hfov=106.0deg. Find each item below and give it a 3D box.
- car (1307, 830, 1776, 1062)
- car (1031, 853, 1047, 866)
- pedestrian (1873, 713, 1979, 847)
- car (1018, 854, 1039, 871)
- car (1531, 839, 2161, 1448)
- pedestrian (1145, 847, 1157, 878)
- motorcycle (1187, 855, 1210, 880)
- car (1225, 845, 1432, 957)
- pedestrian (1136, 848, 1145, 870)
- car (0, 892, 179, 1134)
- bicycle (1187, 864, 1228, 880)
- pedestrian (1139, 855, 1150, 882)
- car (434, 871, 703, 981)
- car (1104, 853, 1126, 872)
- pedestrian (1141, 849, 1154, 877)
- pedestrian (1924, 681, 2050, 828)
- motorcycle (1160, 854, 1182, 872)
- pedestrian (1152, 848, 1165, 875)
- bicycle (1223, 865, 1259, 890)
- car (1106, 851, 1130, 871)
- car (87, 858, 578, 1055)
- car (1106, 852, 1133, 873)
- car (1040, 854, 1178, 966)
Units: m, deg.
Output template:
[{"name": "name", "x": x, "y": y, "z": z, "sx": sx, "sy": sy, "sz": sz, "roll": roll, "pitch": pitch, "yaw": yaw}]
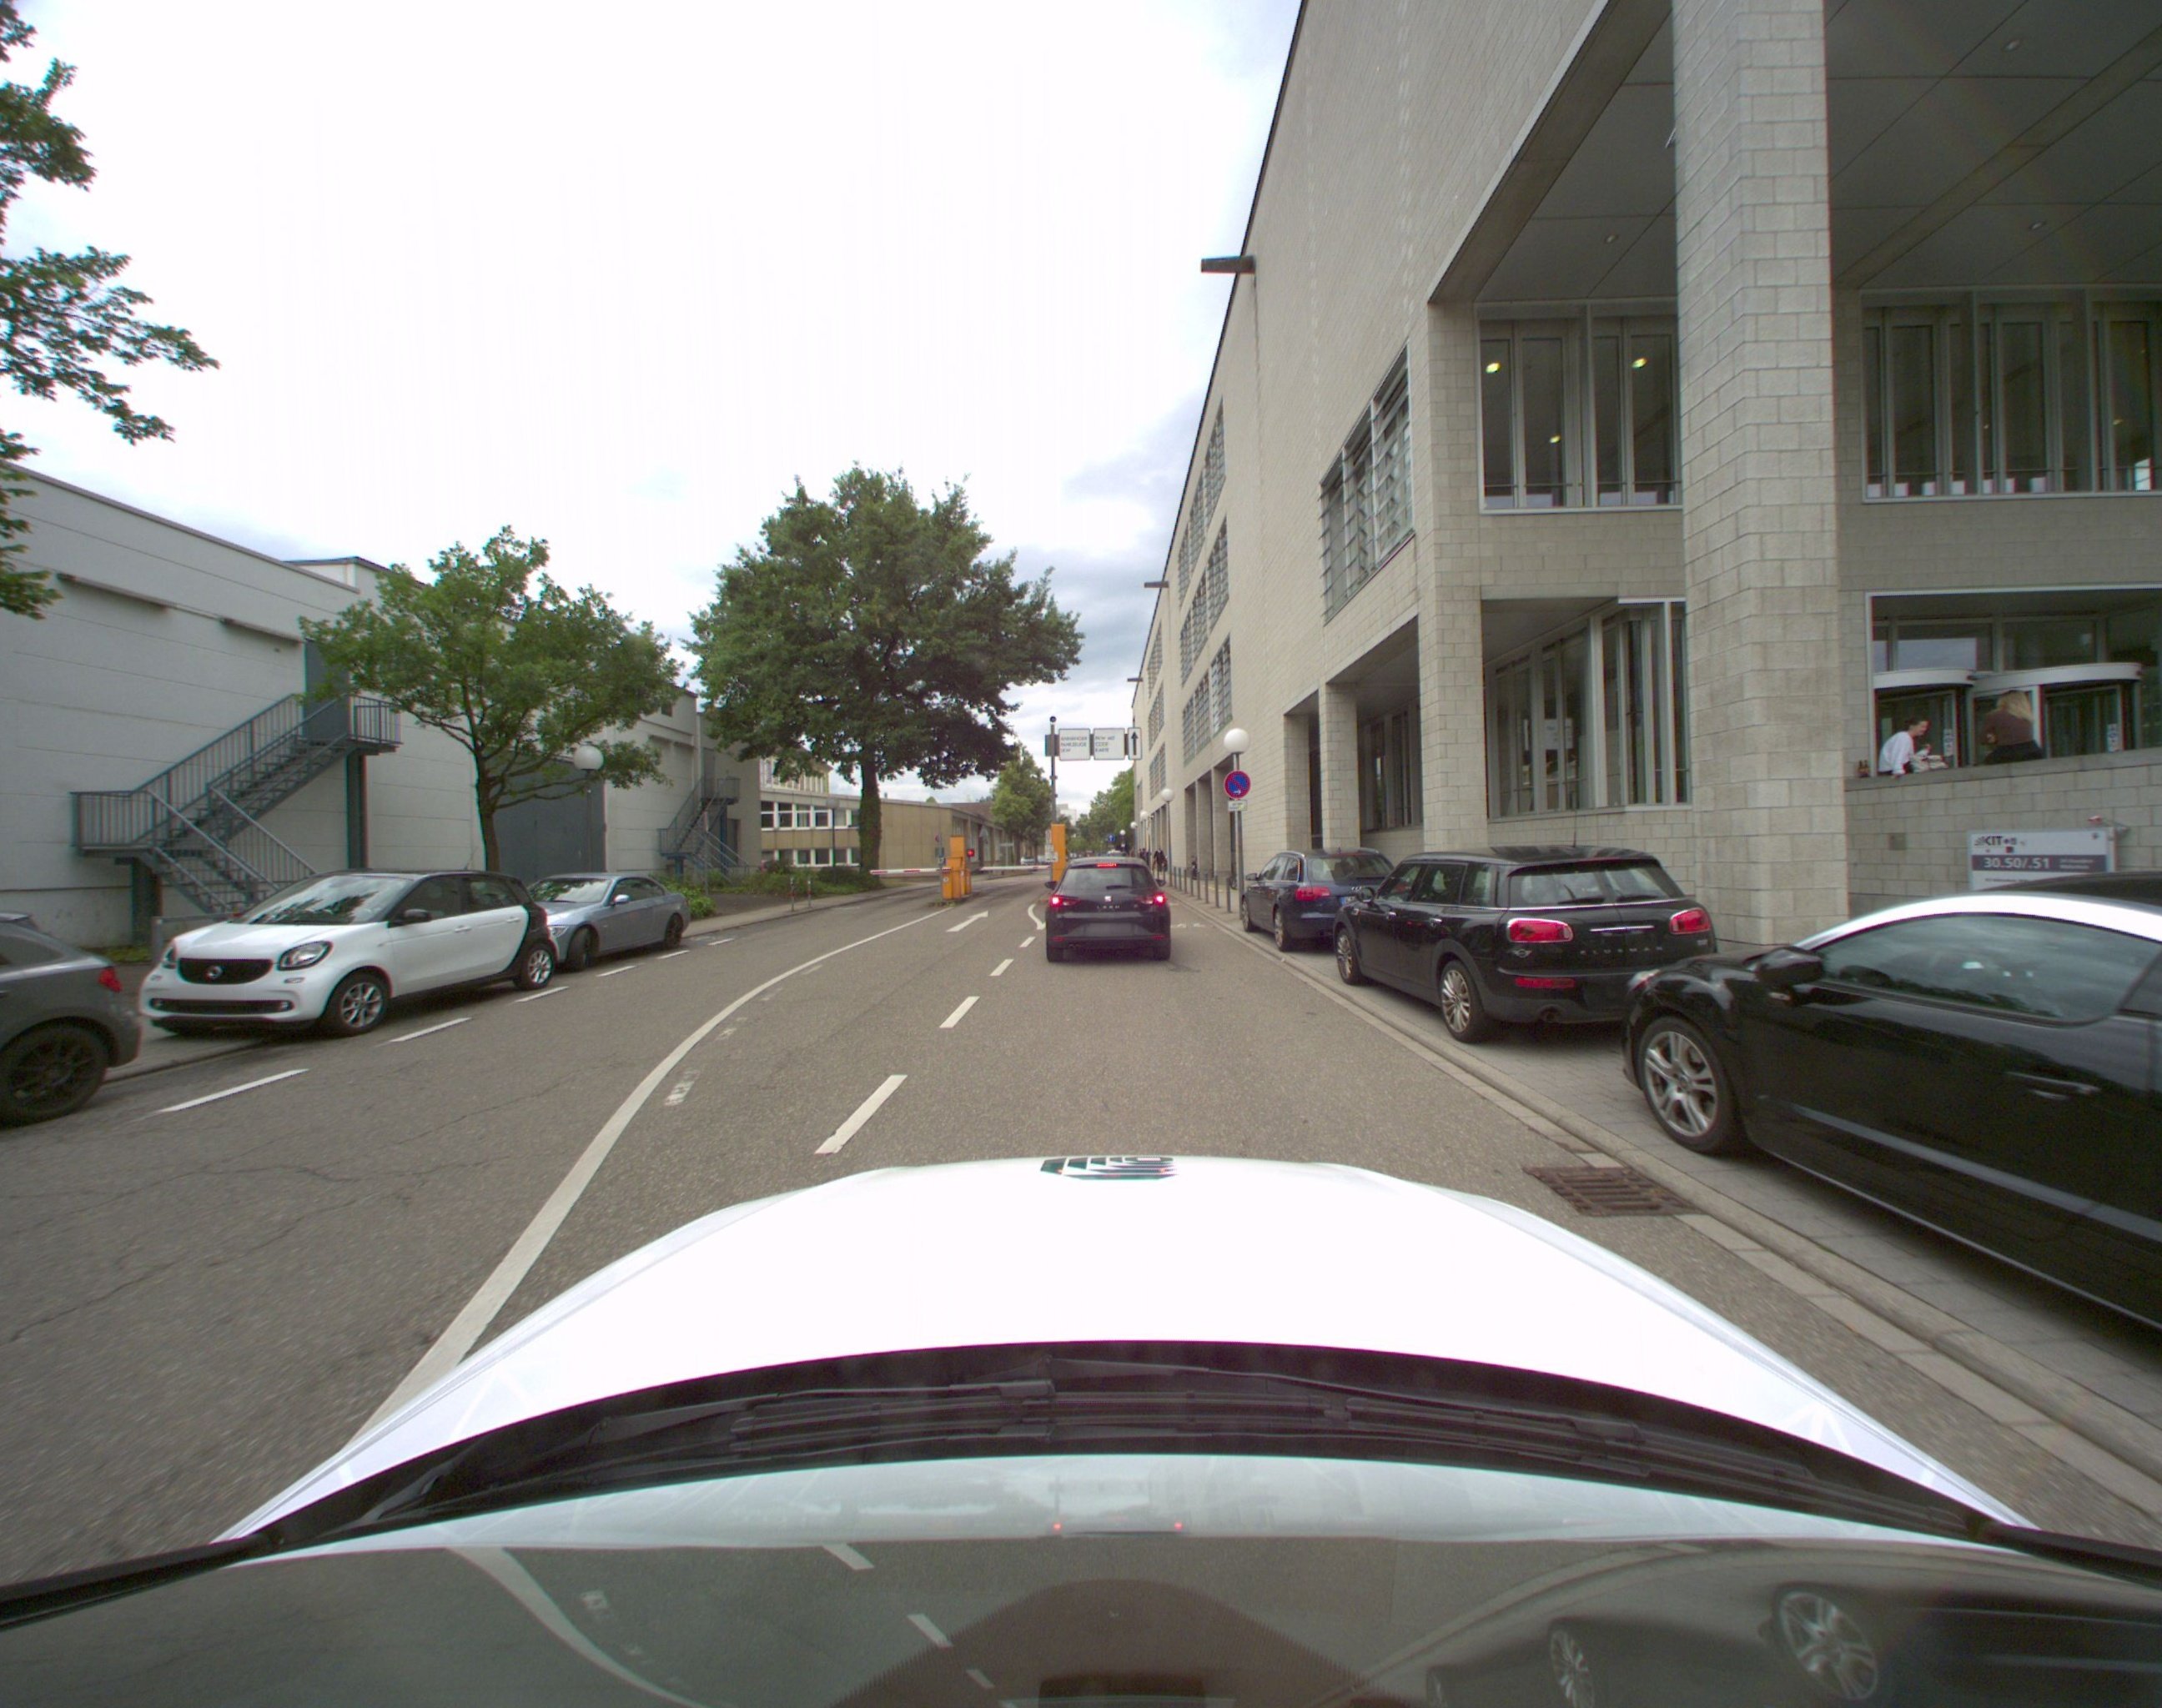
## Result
[{"name": "car", "x": 3.693, "y": 0.607, "z": 7.675, "sx": 1.812, "sy": 1.443, "sz": 4.520, "roll": -3, "pitch": 0, "yaw": 0}, {"name": "car", "x": -5.292, "y": 0.672, "z": 102.950, "sx": 1.764, "sy": 1.601, "sz": 4.000, "roll": -1, "pitch": 0, "yaw": 1}, {"name": "pedestrian", "x": 10.968, "y": -0.939, "z": 10.605, "sx": 0.624, "sy": 1.658, "sz": 0.811, "roll": 0, "pitch": 2, "yaw": 17}, {"name": "car", "x": -5.164, "y": 0.788, "z": 80.154, "sx": 1.764, "sy": 1.601, "sz": 3.999, "roll": -1, "pitch": 0, "yaw": 0}, {"name": "car", "x": 3.617, "y": 0.712, "z": 2.784, "sx": 1.841, "sy": 1.442, "sz": 4.422, "roll": -1, "pitch": 1, "yaw": 2}, {"name": "pedestrian", "x": 3.962, "y": 0.487, "z": 45.975, "sx": 0.608, "sy": 1.714, "sz": 0.575, "roll": -2, "pitch": 0, "yaw": 4}, {"name": "motorcycle", "x": 6.173, "y": 0.681, "z": 42.601, "sx": 0.560, "sy": 1.148, "sz": 2.230, "roll": 0, "pitch": 2, "yaw": 25}, {"name": "car", "x": 3.793, "y": 0.653, "z": 13.512, "sx": 1.986, "sy": 1.452, "sz": 4.923, "roll": -2, "pitch": 0, "yaw": 1}, {"name": "pedestrian", "x": 4.617, "y": 0.408, "z": 63.013, "sx": 0.693, "sy": 1.714, "sz": 0.490, "roll": -1, "pitch": 0, "yaw": 5}, {"name": "car", "x": -7.437, "y": 1.018, "z": 3.887, "sx": 1.758, "sy": 1.411, "sz": 4.007, "roll": -1, "pitch": 0, "yaw": 0}, {"name": "bicycle", "x": 6.129, "y": 0.866, "z": 39.423, "sx": 1.892, "sy": 0.698, "sz": 0.492, "roll": -1, "pitch": 2, "yaw": -3}, {"name": "pedestrian", "x": 4.037, "y": 0.913, "z": 52.078, "sx": 0.687, "sy": 1.698, "sz": 0.589, "roll": 0, "pitch": 2, "yaw": 3}, {"name": "car", "x": -8.106, "y": 1.049, "z": 13.436, "sx": 1.813, "sy": 1.389, "sz": 4.192, "roll": -1, "pitch": 0, "yaw": -1}, {"name": "car", "x": 3.487, "y": 0.893, "z": 84.230, "sx": 1.987, "sy": 1.782, "sz": 4.428, "roll": -3, "pitch": 0, "yaw": 1}, {"name": "pedestrian", "x": 4.050, "y": 0.533, "z": 49.405, "sx": 0.694, "sy": 1.714, "sz": 0.489, "roll": -1, "pitch": 0, "yaw": -3}, {"name": "pedestrian", "x": 10.748, "y": -1.149, "z": 9.693, "sx": 0.797, "sy": 1.658, "sz": 0.635, "roll": 0, "pitch": 2, "yaw": 26}, {"name": "motorcycle", "x": 6.559, "y": 0.648, "z": 59.191, "sx": 0.752, "sy": 1.148, "sz": 2.679, "roll": 0, "pitch": 2, "yaw": 25}, {"name": "pedestrian", "x": 5.046, "y": 0.477, "z": 53.135, "sx": 0.726, "sy": 1.698, "sz": 0.587, "roll": -1, "pitch": 2, "yaw": -5}, {"name": "bicycle", "x": 5.776, "y": 0.831, "z": 29.317, "sx": 0.458, "sy": 0.751, "sz": 2.309, "roll": -6, "pitch": -1, "yaw": 31}, {"name": "car", "x": 3.288, "y": 0.599, "z": 72.617, "sx": 1.986, "sy": 1.622, "sz": 4.429, "roll": -3, "pitch": 0, "yaw": 1}, {"name": "car", "x": -7.584, "y": 0.882, "z": 8.888, "sx": 1.710, "sy": 1.586, "sz": 3.877, "roll": -1, "pitch": 1, "yaw": 0}, {"name": "car", "x": 3.185, "y": 0.745, "z": 68.087, "sx": 1.987, "sy": 1.622, "sz": 4.427, "roll": -2, "pitch": -1, "yaw": 0}, {"name": "car", "x": 0.385, "y": 0.724, "z": 12.662, "sx": 1.776, "sy": 1.419, "sz": 4.129, "roll": -1, "pitch": 0, "yaw": 0}]
